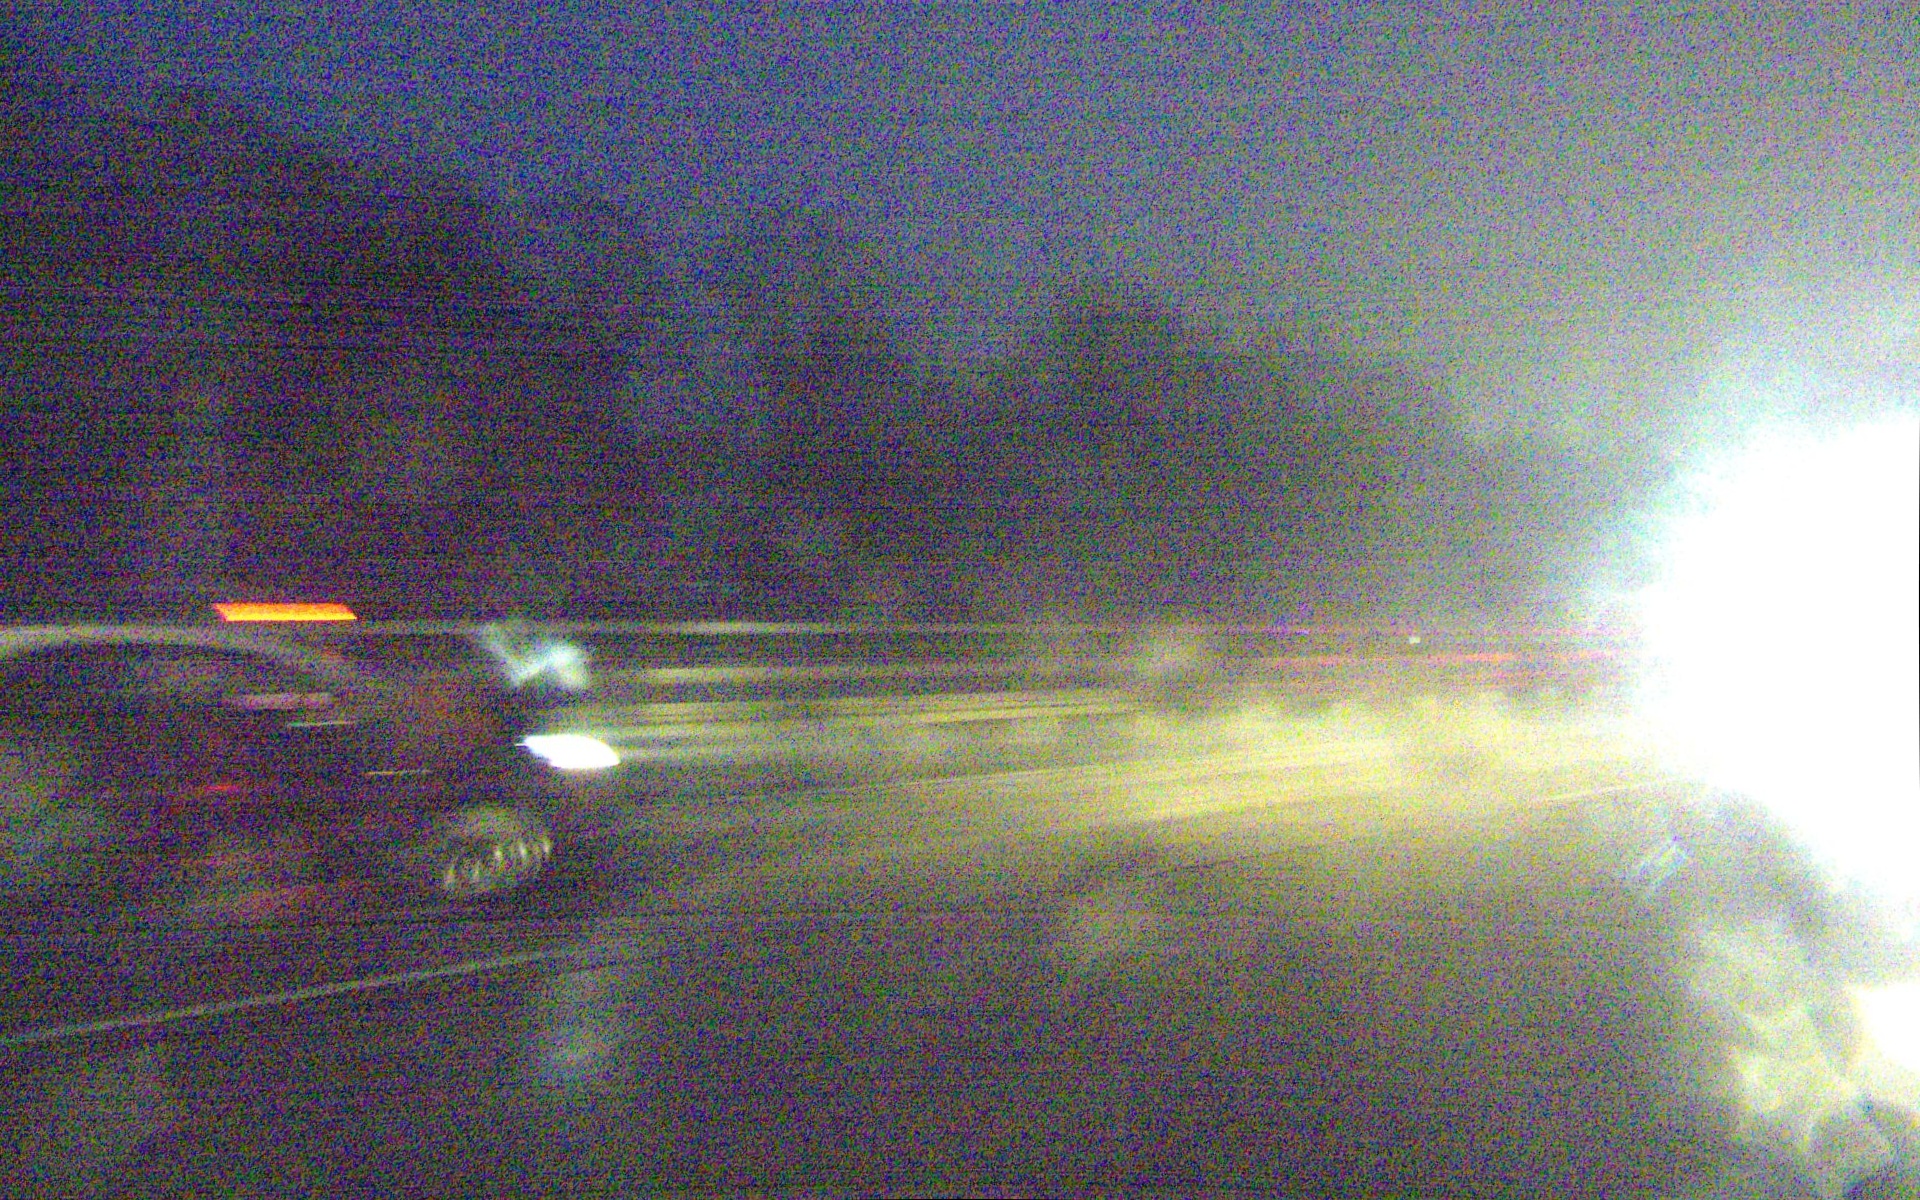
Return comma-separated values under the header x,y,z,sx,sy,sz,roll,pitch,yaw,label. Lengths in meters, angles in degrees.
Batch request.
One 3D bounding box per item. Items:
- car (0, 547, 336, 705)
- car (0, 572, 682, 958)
x,y,z,sx,sy,sz,roll,pitch,yaw,label
-11.843,0.369,14.451,4.755,2.040,1.983,2,-1,-31,car
-3.604,0.717,5.362,3.805,1.596,1.641,1,-2,-31,car
